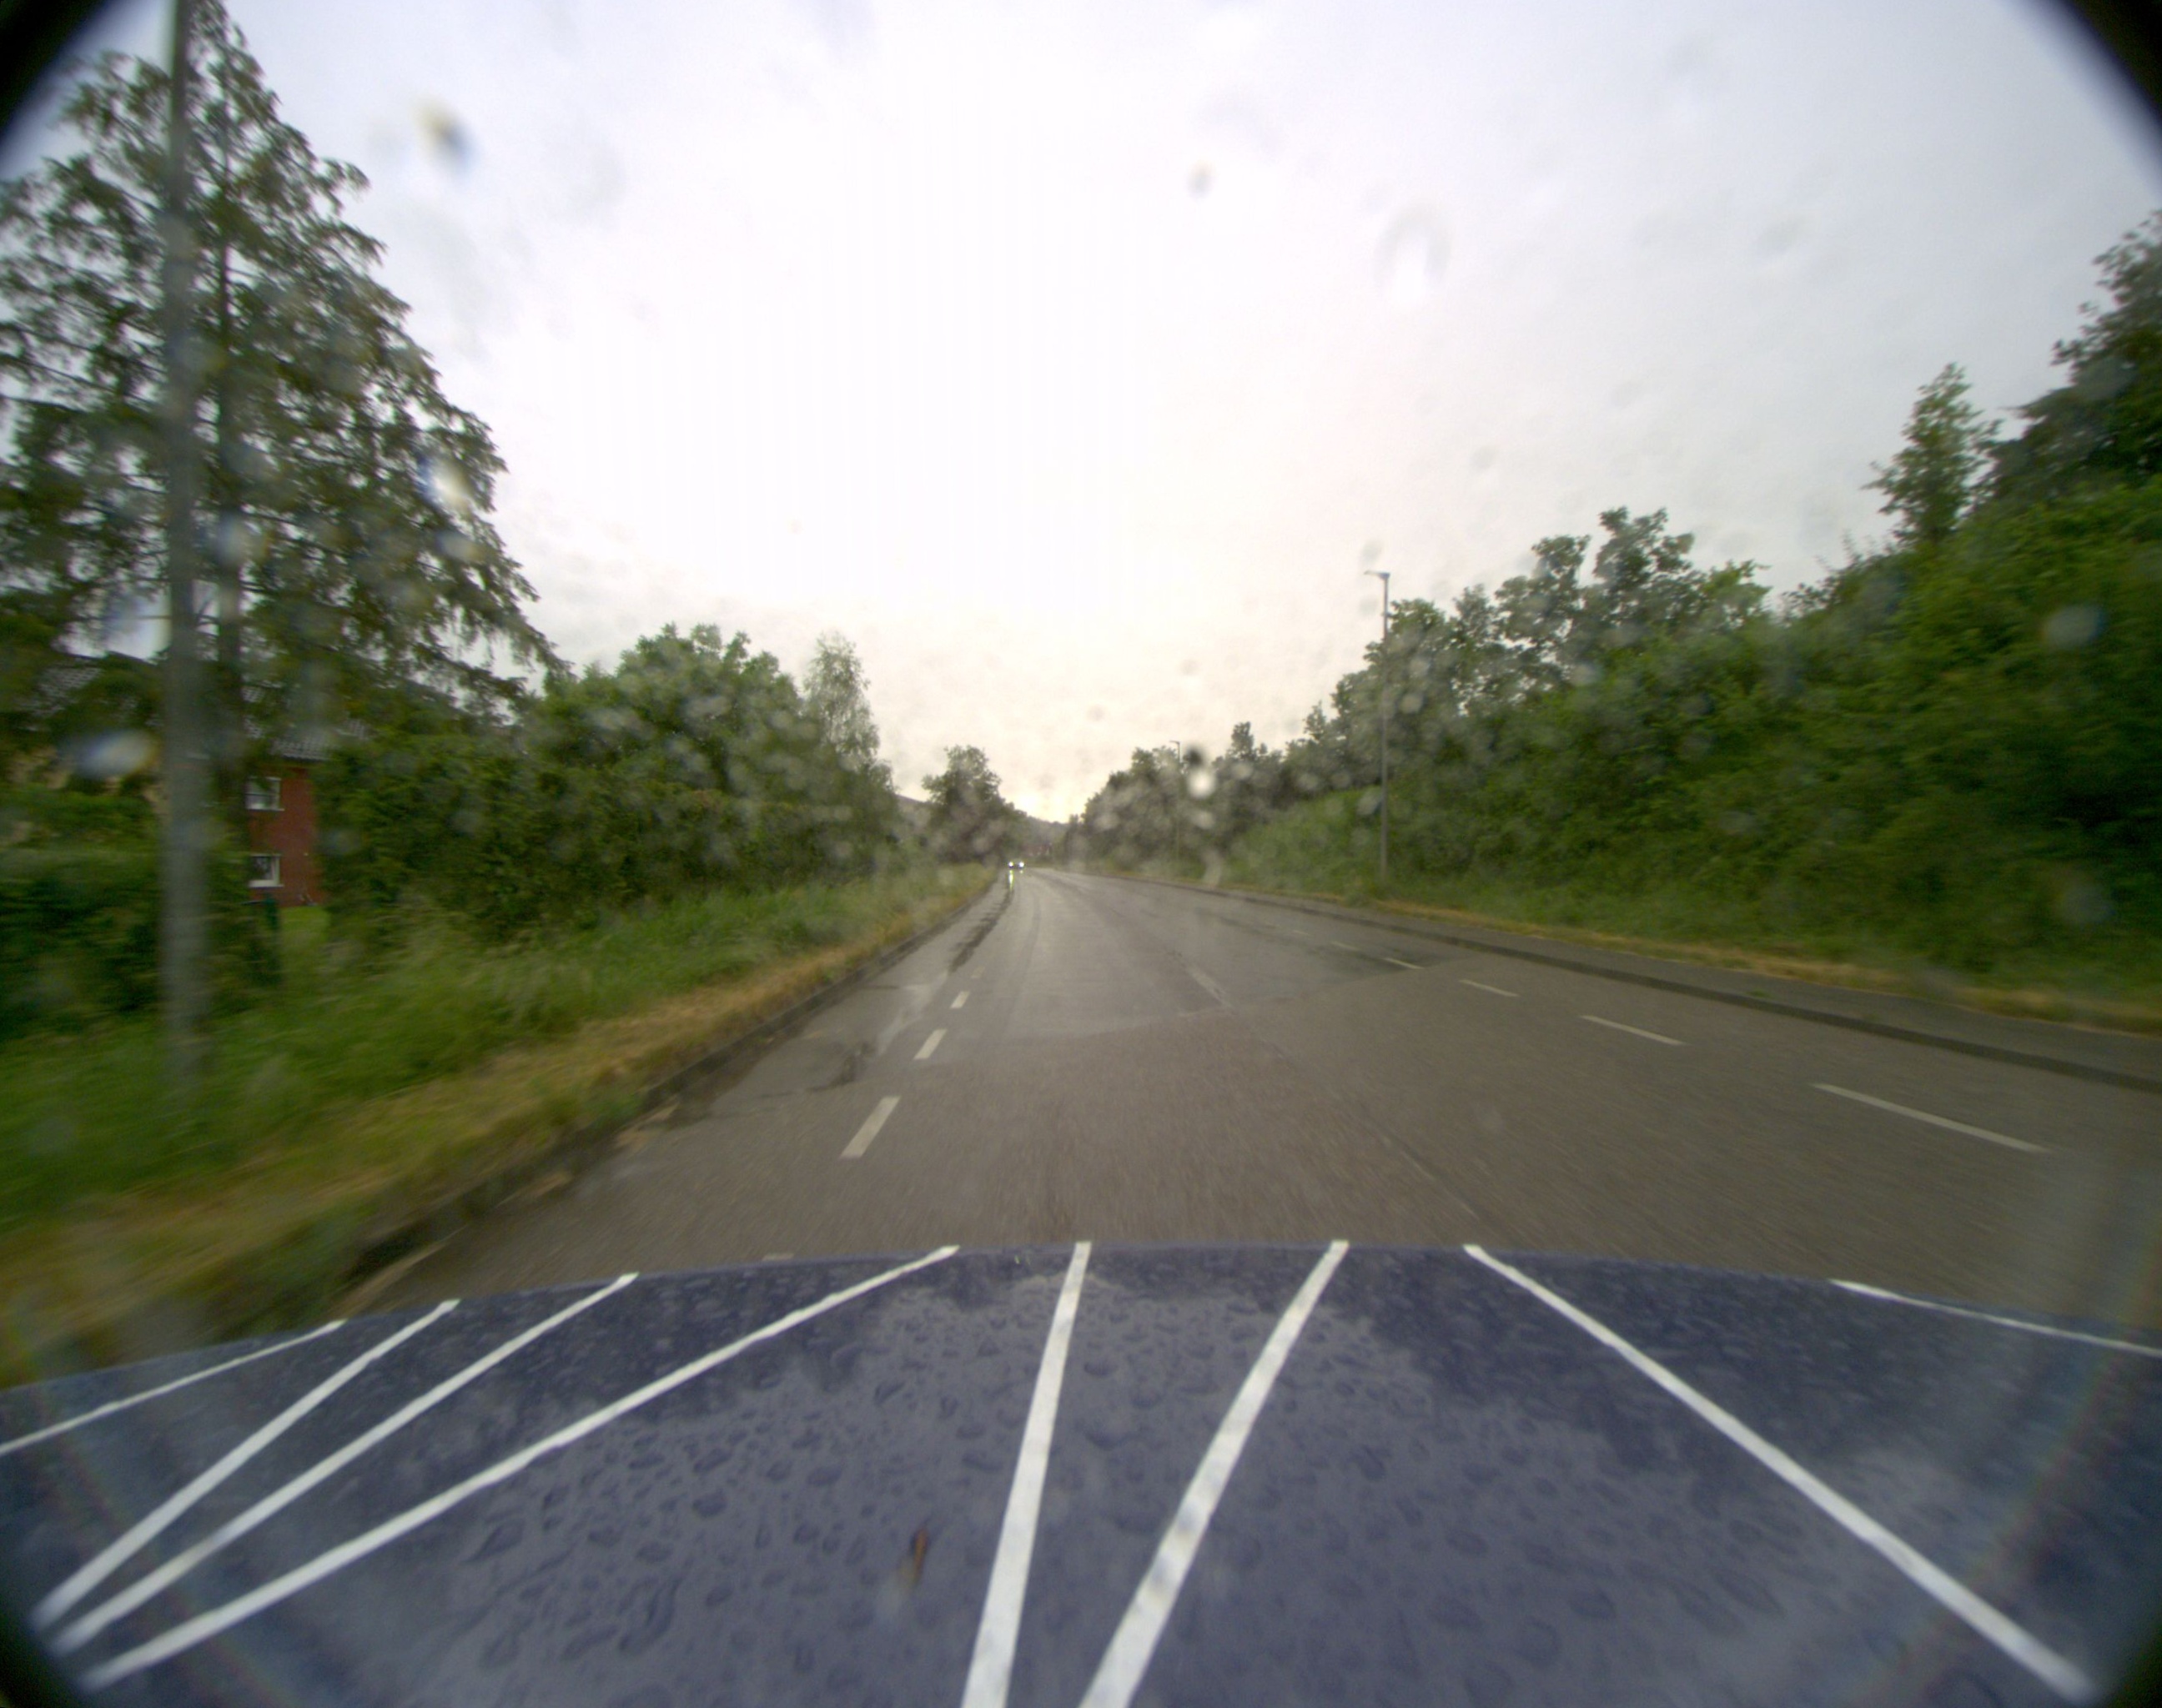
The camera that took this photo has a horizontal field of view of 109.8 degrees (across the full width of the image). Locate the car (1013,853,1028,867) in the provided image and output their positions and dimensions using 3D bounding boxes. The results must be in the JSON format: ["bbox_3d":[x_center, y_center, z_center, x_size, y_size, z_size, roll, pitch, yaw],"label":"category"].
[{"bbox_3d":[-8.250,0.788,103.126,1.999,1.831,3.998,0,0,-5],"label":"car"}]
